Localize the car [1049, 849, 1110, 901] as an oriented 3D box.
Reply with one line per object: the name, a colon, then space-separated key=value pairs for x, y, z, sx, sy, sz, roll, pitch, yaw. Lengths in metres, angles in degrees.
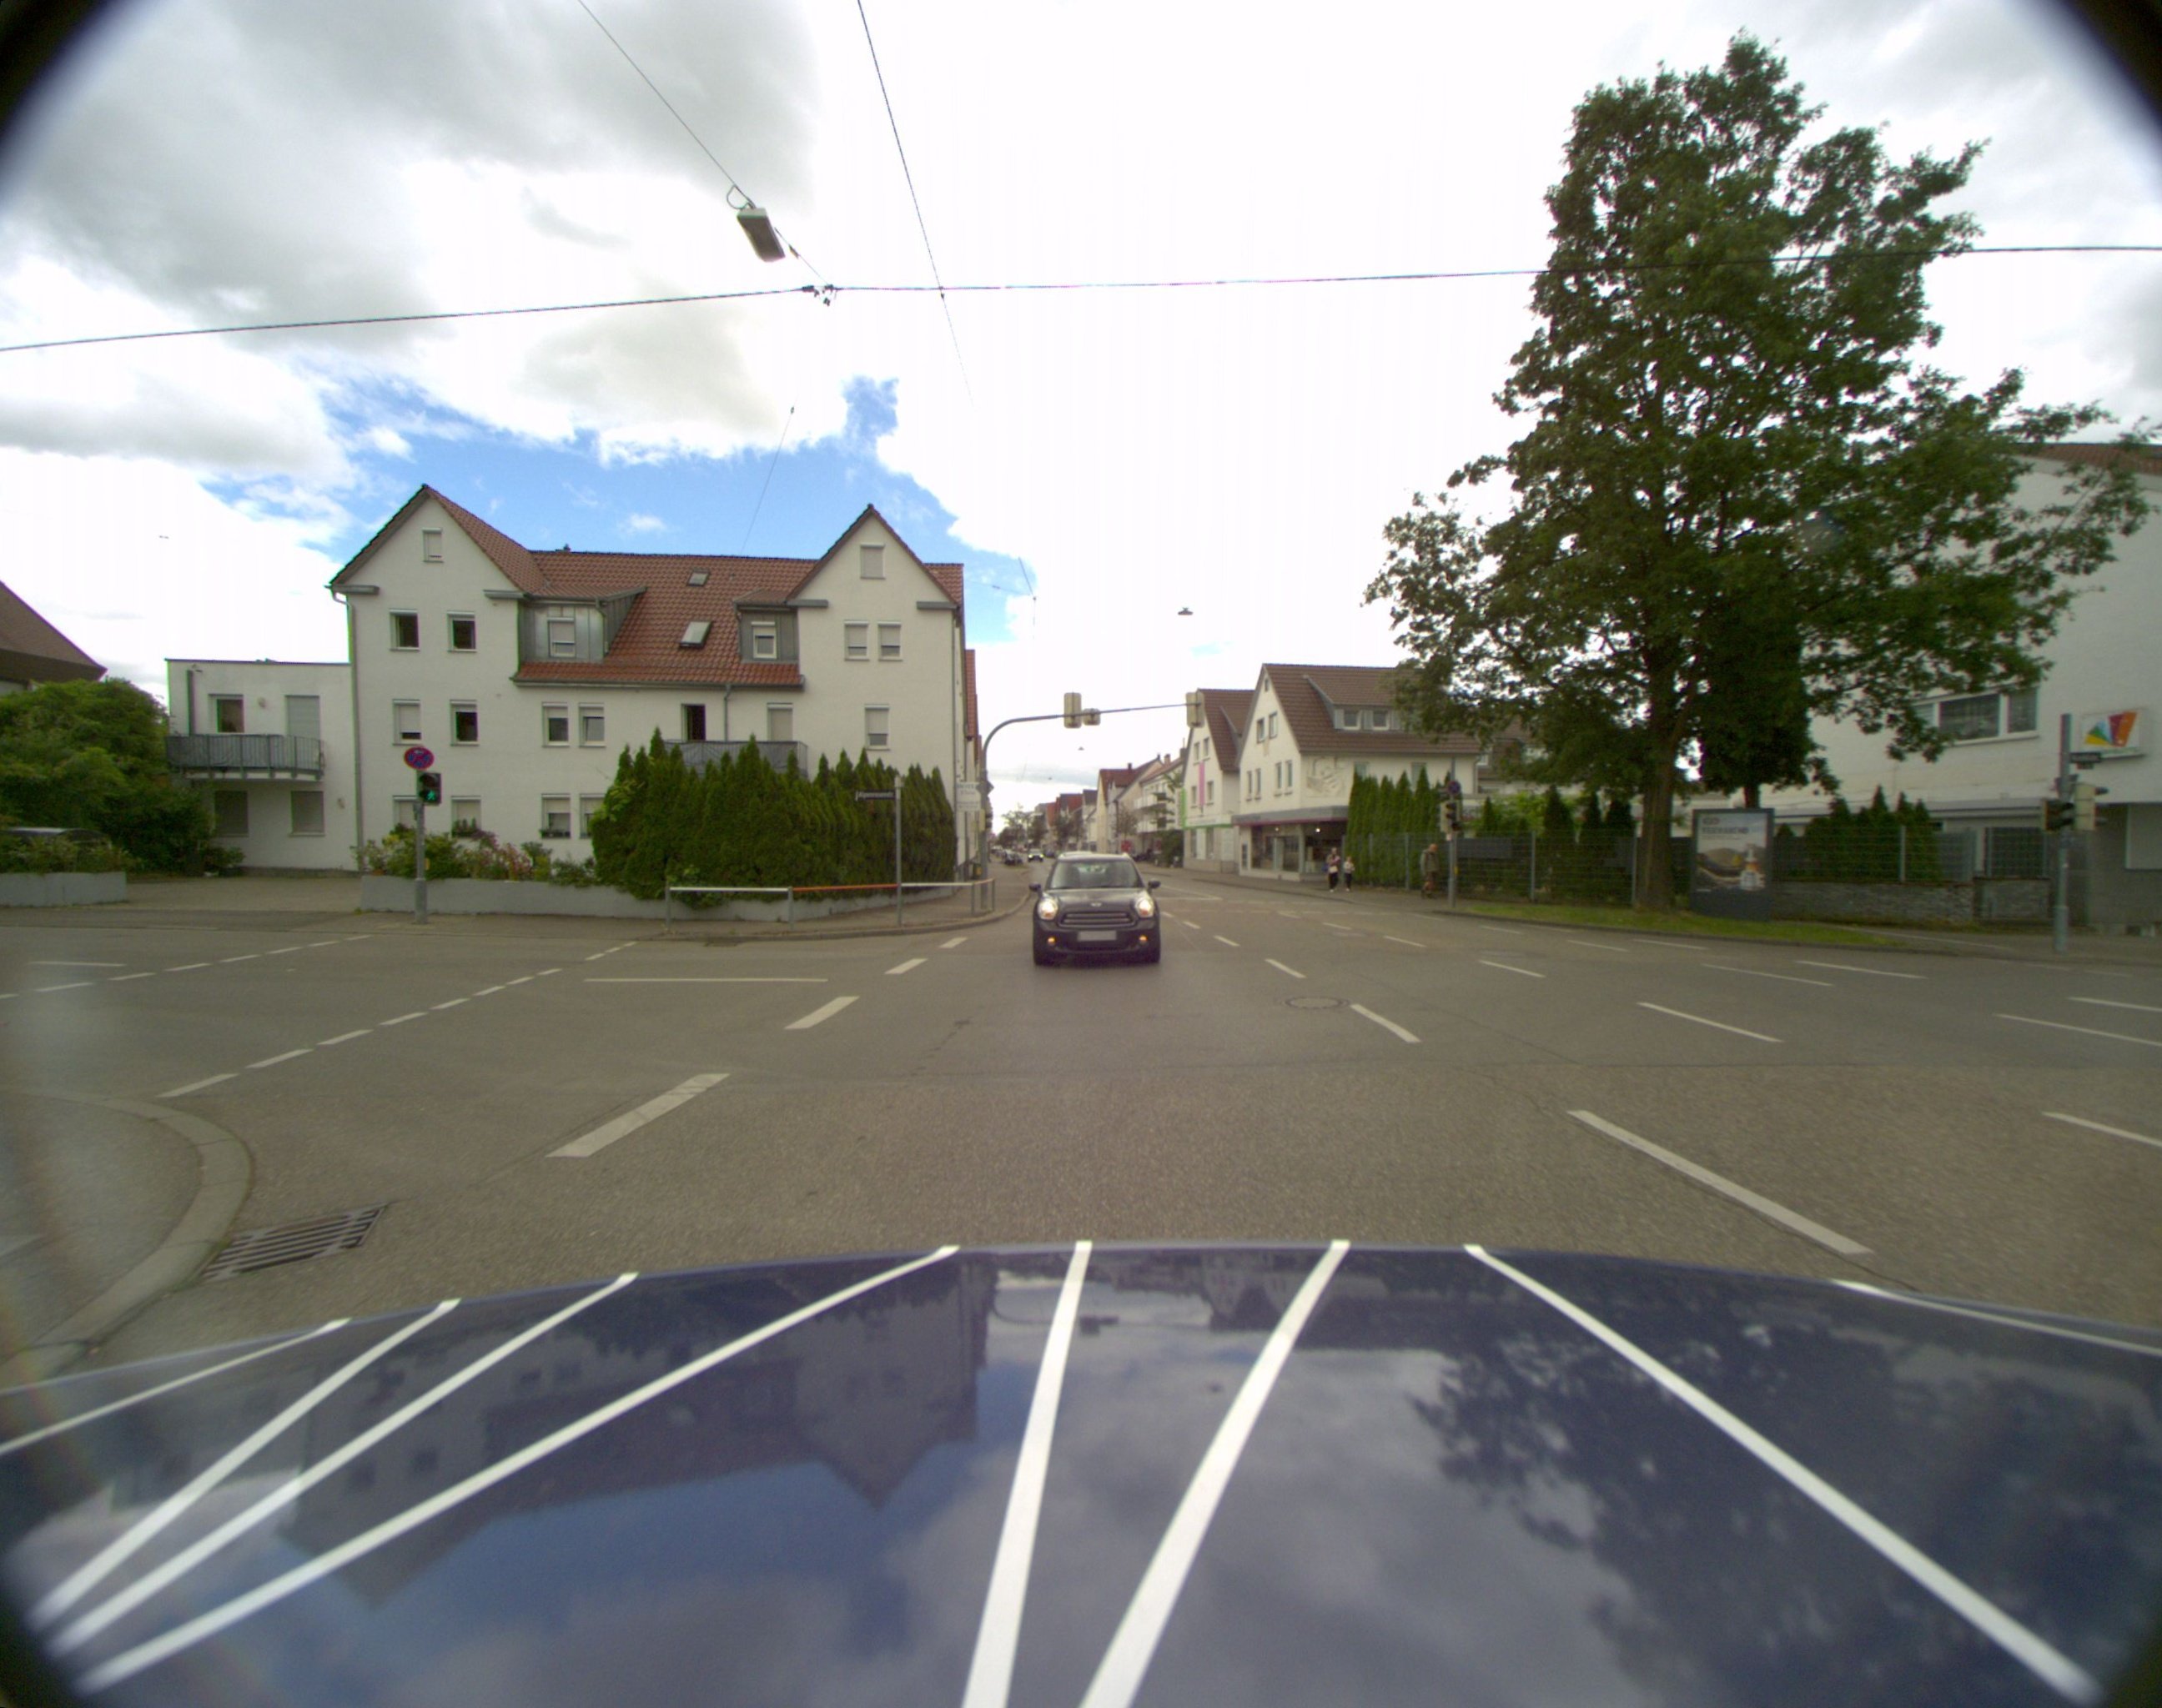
car: x=-0.149 y=0.692 z=28.123 sx=1.812 sy=1.556 sz=4.614 roll=-1 pitch=3 yaw=-5

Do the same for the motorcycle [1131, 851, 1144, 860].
motorcycle: x=6.352 y=0.172 z=85.365 sx=1.430 sy=1.017 sz=0.525 roll=-2 pitch=2 yaw=-6

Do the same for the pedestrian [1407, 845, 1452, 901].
pedestrian: x=11.196 y=0.587 z=24.443 sx=0.823 sy=1.744 sz=1.229 roll=-2 pitch=2 yaw=-4

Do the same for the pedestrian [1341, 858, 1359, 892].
pedestrian: x=10.188 y=0.776 z=28.835 sx=0.383 sy=1.254 sz=0.549 roll=-2 pitch=2 yaw=-15

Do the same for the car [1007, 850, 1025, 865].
car: x=-7.481 y=0.381 z=87.179 sx=1.847 sy=1.510 sz=3.997 roll=-2 pitch=1 yaw=-7

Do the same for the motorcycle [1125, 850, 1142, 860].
motorcycle: x=5.990 y=0.119 z=86.978 sx=1.835 sy=1.099 sz=0.505 roll=-2 pitch=2 yaw=-6

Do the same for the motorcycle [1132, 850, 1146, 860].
motorcycle: x=6.530 y=0.118 z=86.020 sx=1.515 sy=1.099 sz=0.589 roll=-2 pitch=1 yaw=0

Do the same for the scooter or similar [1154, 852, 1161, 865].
scooter or similar: x=6.812 y=0.388 z=67.669 sx=0.465 sy=1.117 sz=1.829 roll=-1 pitch=1 yaw=9

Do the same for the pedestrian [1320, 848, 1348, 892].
pedestrian: x=9.612 y=0.597 z=28.896 sx=0.642 sy=1.596 sz=0.865 roll=-2 pitch=2 yaw=-15

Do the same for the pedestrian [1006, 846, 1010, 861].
pedestrian: x=-8.814 y=-0.094 z=91.320 sx=0.497 sy=1.744 sz=0.451 roll=0 pitch=1 yaw=-4

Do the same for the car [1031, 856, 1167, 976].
car: x=0.111 y=0.799 z=11.783 sx=1.694 sy=1.506 sz=3.998 roll=-1 pitch=0 yaw=-5

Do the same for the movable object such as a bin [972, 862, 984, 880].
movable object such as a bin: x=-5.312 y=0.856 z=39.311 sx=0.566 sy=0.898 sz=0.519 roll=1 pitch=1 yaw=-5

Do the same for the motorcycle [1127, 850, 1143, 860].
motorcycle: x=6.223 y=0.098 z=87.782 sx=1.679 sy=1.099 sz=0.558 roll=-2 pitch=2 yaw=-6

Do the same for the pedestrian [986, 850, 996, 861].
pedestrian: x=-10.733 y=0.156 z=90.647 sx=0.982 sy=1.272 sz=0.667 roll=1 pitch=1 yaw=7

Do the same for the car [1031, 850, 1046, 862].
car: x=-5.666 y=0.222 z=100.295 sx=1.847 sy=1.510 sz=3.997 roll=-2 pitch=1 yaw=-5
